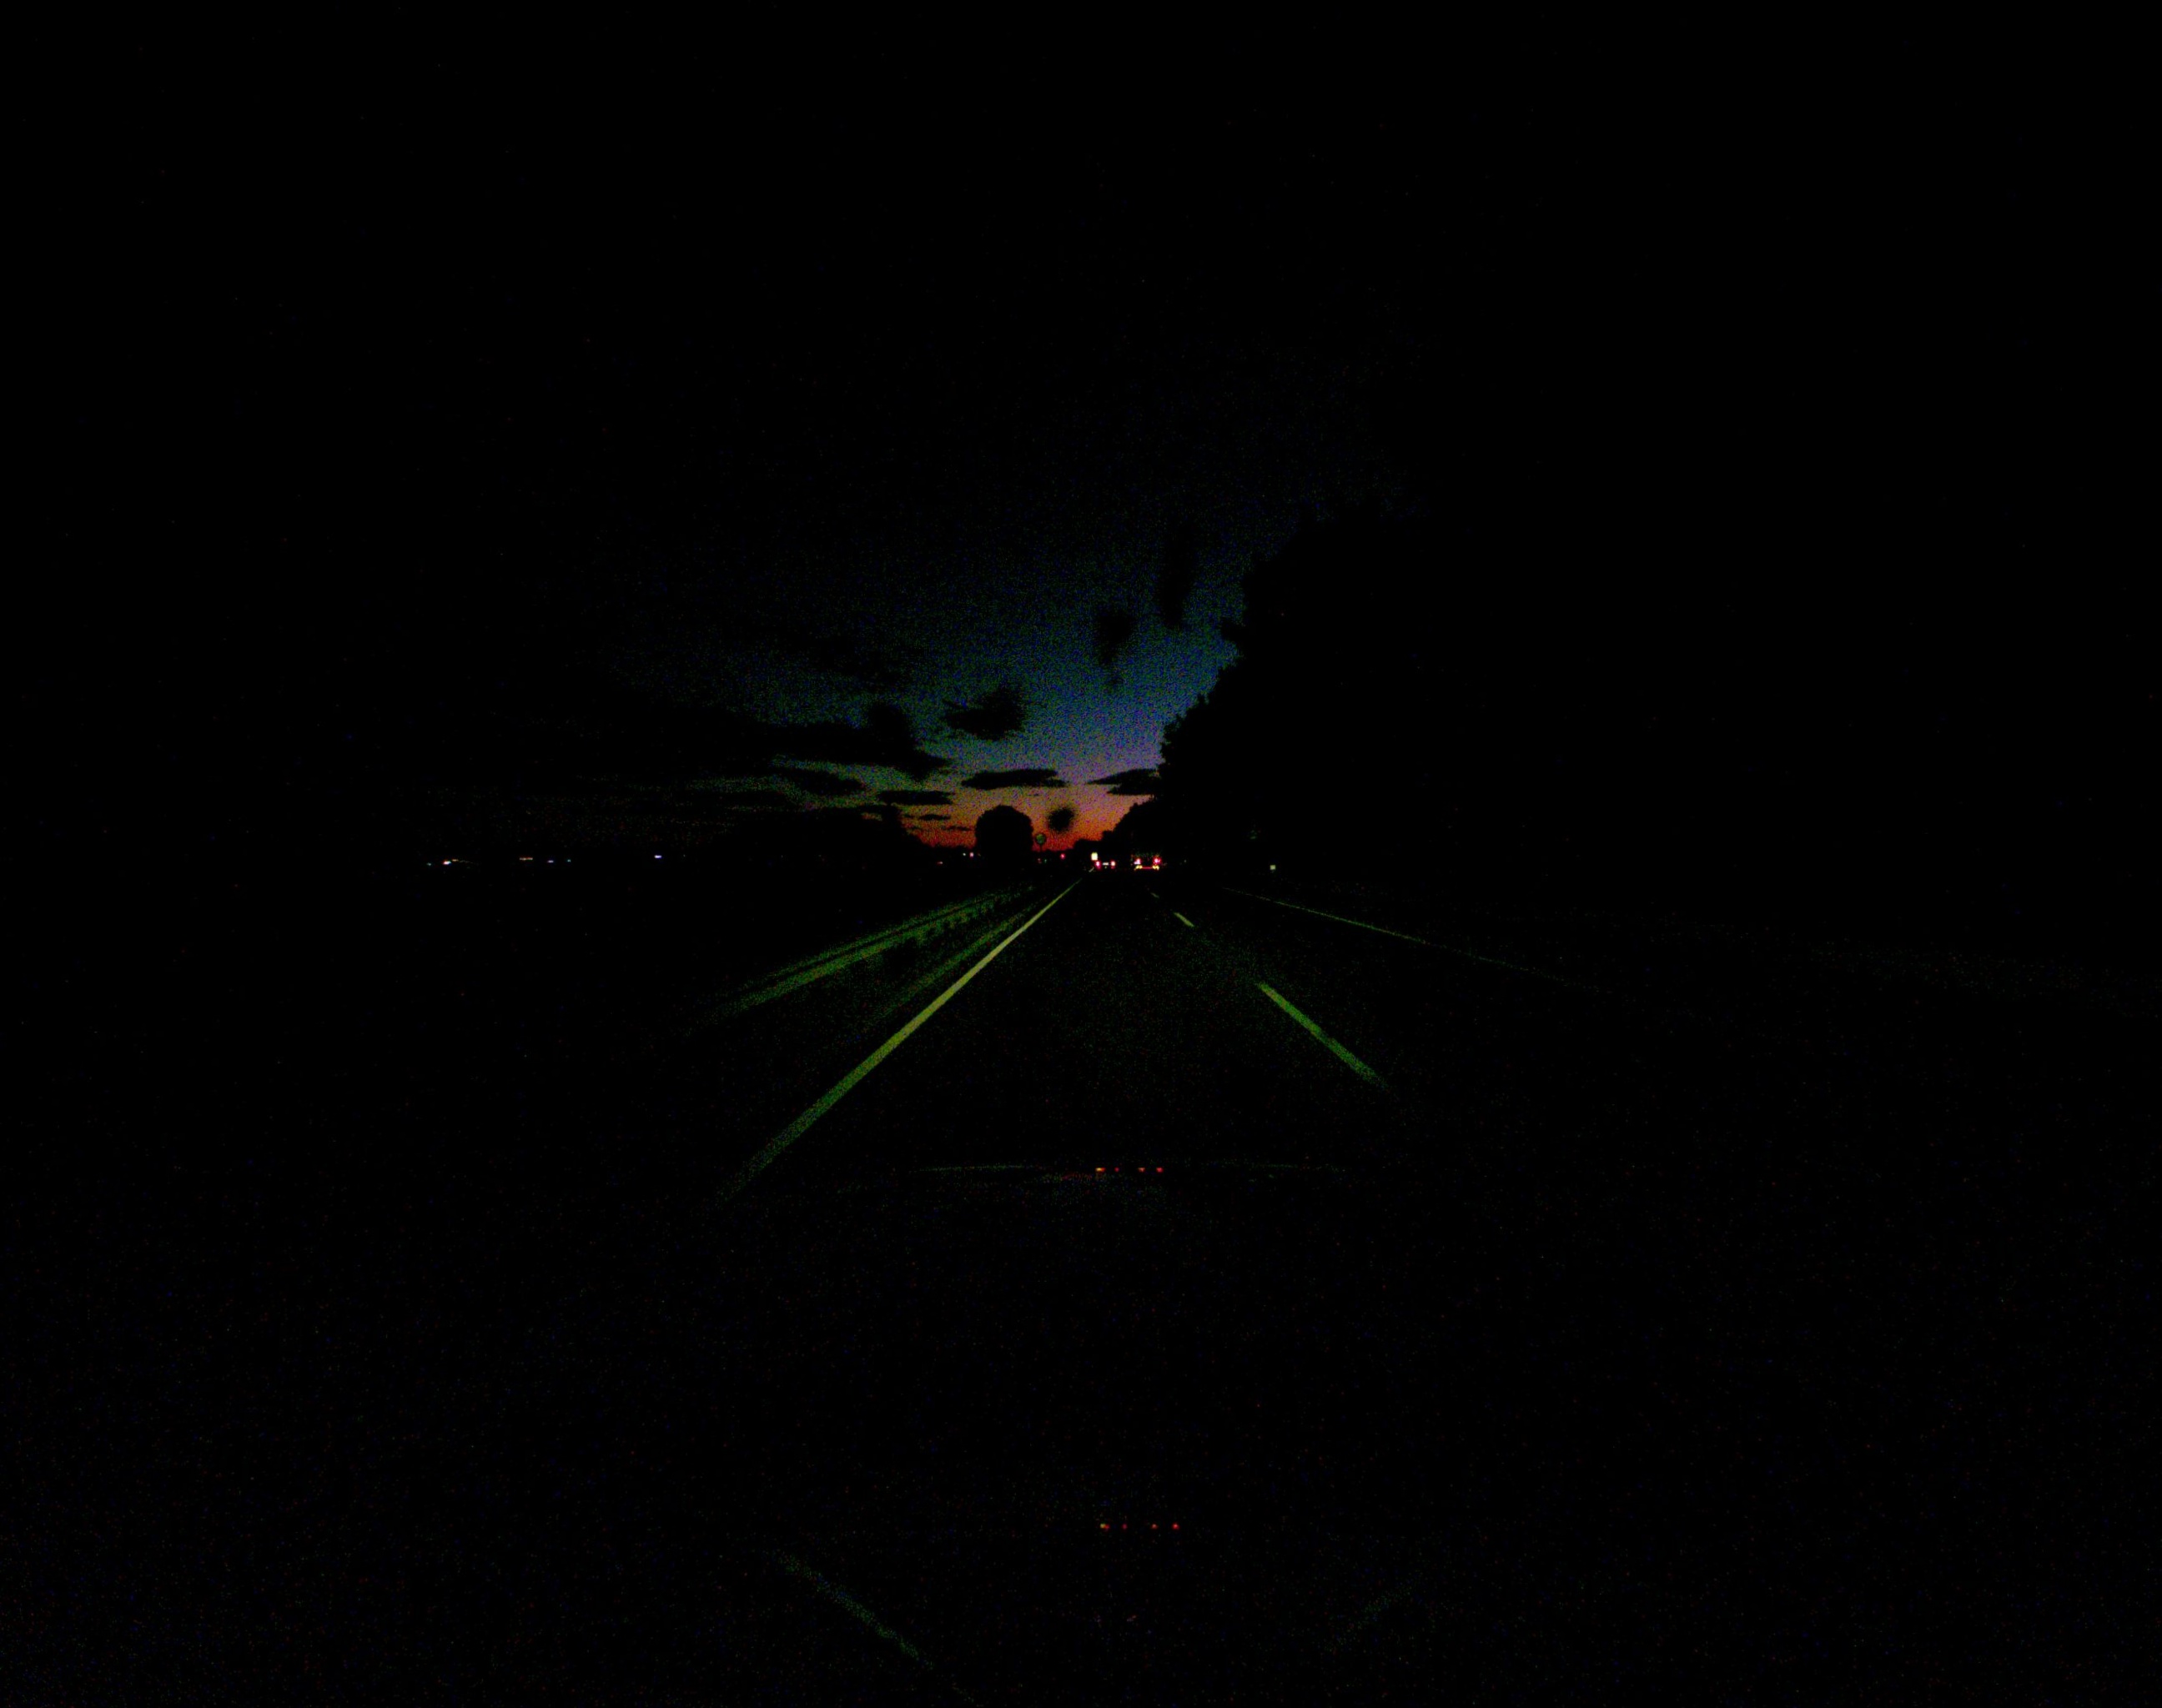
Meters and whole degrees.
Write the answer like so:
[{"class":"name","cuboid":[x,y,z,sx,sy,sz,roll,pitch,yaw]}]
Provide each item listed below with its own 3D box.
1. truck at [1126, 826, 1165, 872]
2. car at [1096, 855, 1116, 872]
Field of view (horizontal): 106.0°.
[{"class":"truck","cuboid":[6.128,-0.484,79.660,2.873,4.106,12.683,-1,0,0]},{"class":"car","cuboid":[2.235,0.881,73.530,1.690,1.452,3.914,-1,0,0]}]
